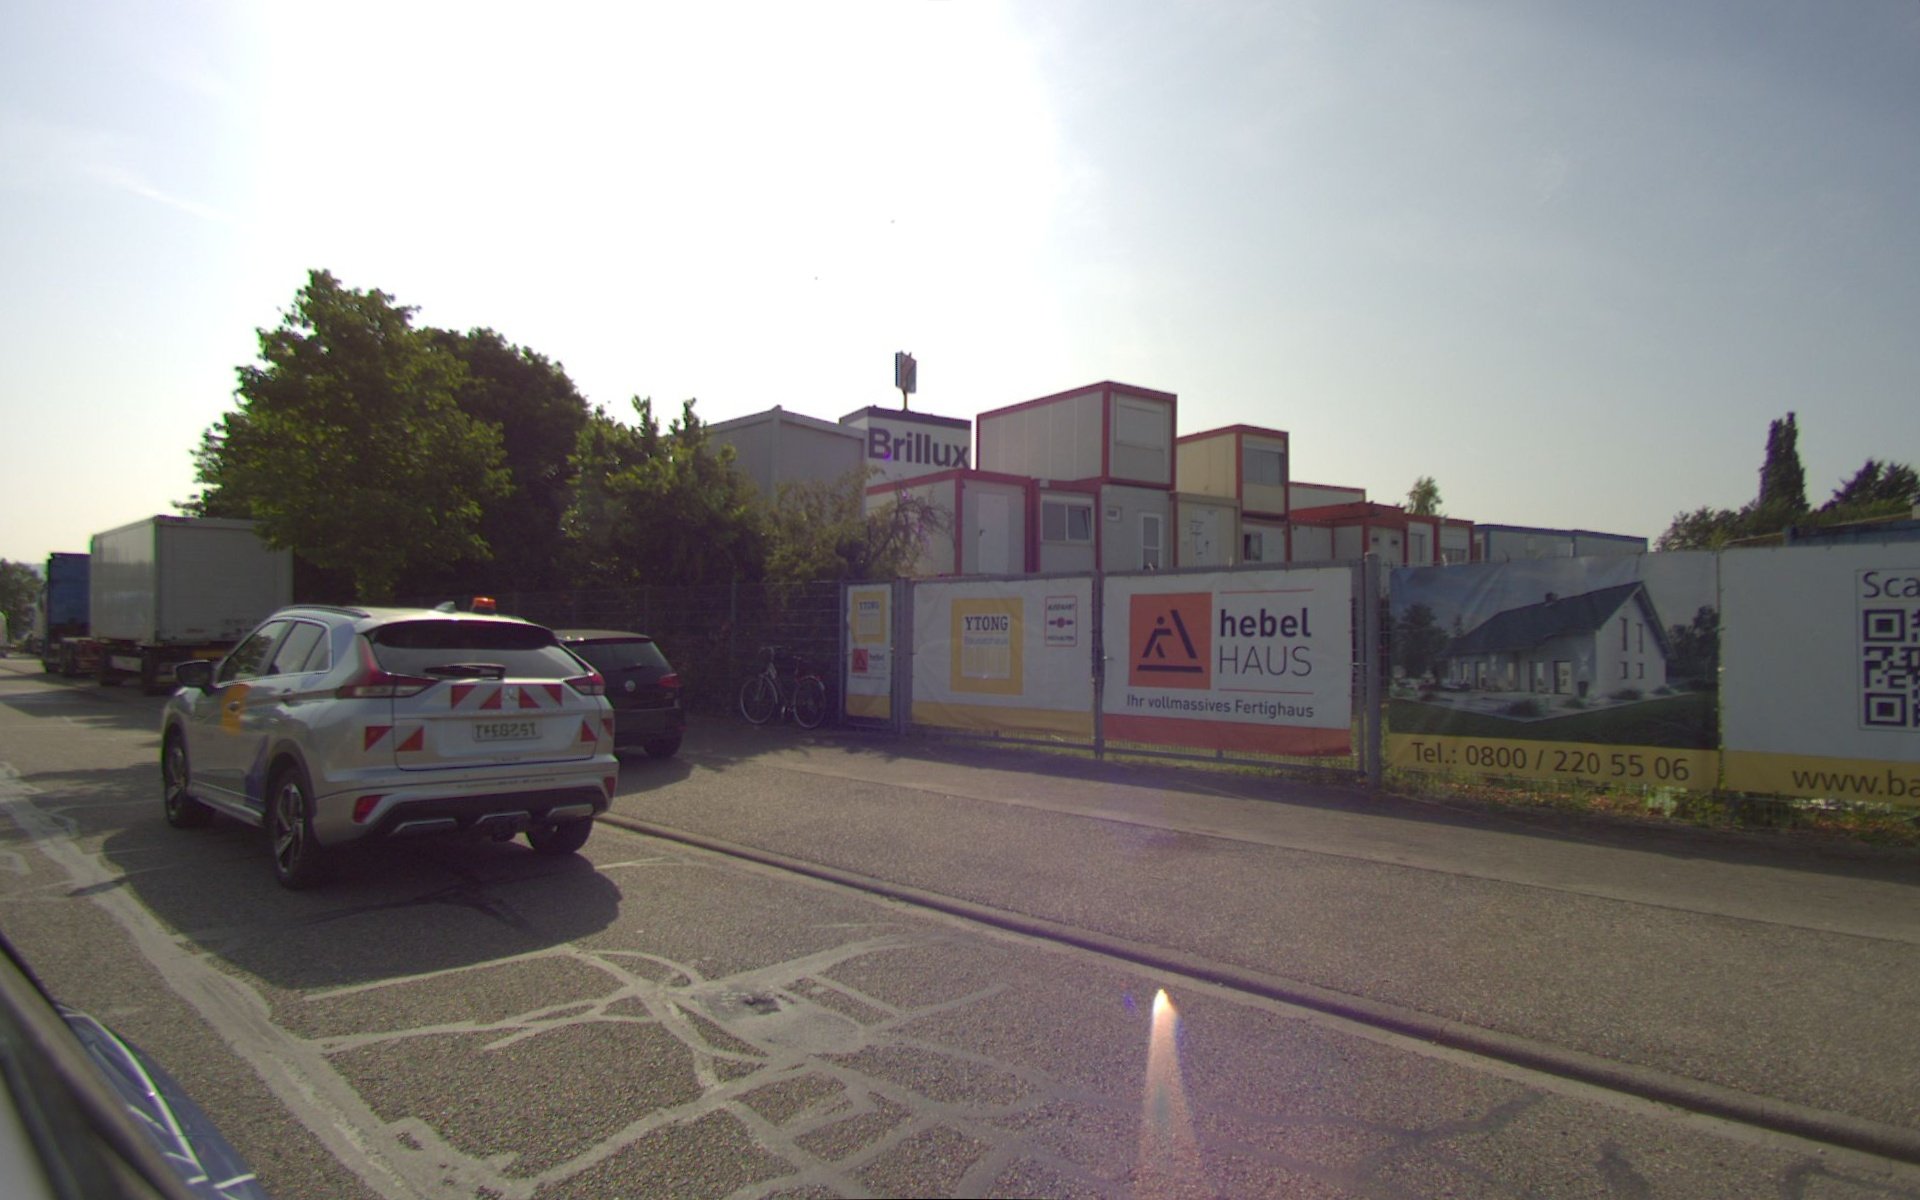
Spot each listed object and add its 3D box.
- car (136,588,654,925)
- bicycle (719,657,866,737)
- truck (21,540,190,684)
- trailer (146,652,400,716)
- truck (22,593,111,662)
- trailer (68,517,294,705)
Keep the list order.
[{"bbox_3d":[-4.105,0.843,7.040,4.247,1.639,1.792,-2,-3,41],"label":"car"},{"bbox_3d":[-2.352,1.300,13.993,2.451,0.980,0.556,-1,-3,41],"label":"bicycle"},{"bbox_3d":[-26.923,0.436,31.677,9.632,3.914,2.684,-2,-1,42],"label":"truck"},{"bbox_3d":[-13.639,1.551,19.905,6.239,0.993,2.621,-2,-3,41],"label":"trailer"},{"bbox_3d":[-54.658,1.729,61.811,10.059,3.883,2.747,-2,-4,42],"label":"truck"},{"bbox_3d":[-19.656,0.330,25.229,9.761,3.914,2.671,-2,-1,42],"label":"trailer"}]
